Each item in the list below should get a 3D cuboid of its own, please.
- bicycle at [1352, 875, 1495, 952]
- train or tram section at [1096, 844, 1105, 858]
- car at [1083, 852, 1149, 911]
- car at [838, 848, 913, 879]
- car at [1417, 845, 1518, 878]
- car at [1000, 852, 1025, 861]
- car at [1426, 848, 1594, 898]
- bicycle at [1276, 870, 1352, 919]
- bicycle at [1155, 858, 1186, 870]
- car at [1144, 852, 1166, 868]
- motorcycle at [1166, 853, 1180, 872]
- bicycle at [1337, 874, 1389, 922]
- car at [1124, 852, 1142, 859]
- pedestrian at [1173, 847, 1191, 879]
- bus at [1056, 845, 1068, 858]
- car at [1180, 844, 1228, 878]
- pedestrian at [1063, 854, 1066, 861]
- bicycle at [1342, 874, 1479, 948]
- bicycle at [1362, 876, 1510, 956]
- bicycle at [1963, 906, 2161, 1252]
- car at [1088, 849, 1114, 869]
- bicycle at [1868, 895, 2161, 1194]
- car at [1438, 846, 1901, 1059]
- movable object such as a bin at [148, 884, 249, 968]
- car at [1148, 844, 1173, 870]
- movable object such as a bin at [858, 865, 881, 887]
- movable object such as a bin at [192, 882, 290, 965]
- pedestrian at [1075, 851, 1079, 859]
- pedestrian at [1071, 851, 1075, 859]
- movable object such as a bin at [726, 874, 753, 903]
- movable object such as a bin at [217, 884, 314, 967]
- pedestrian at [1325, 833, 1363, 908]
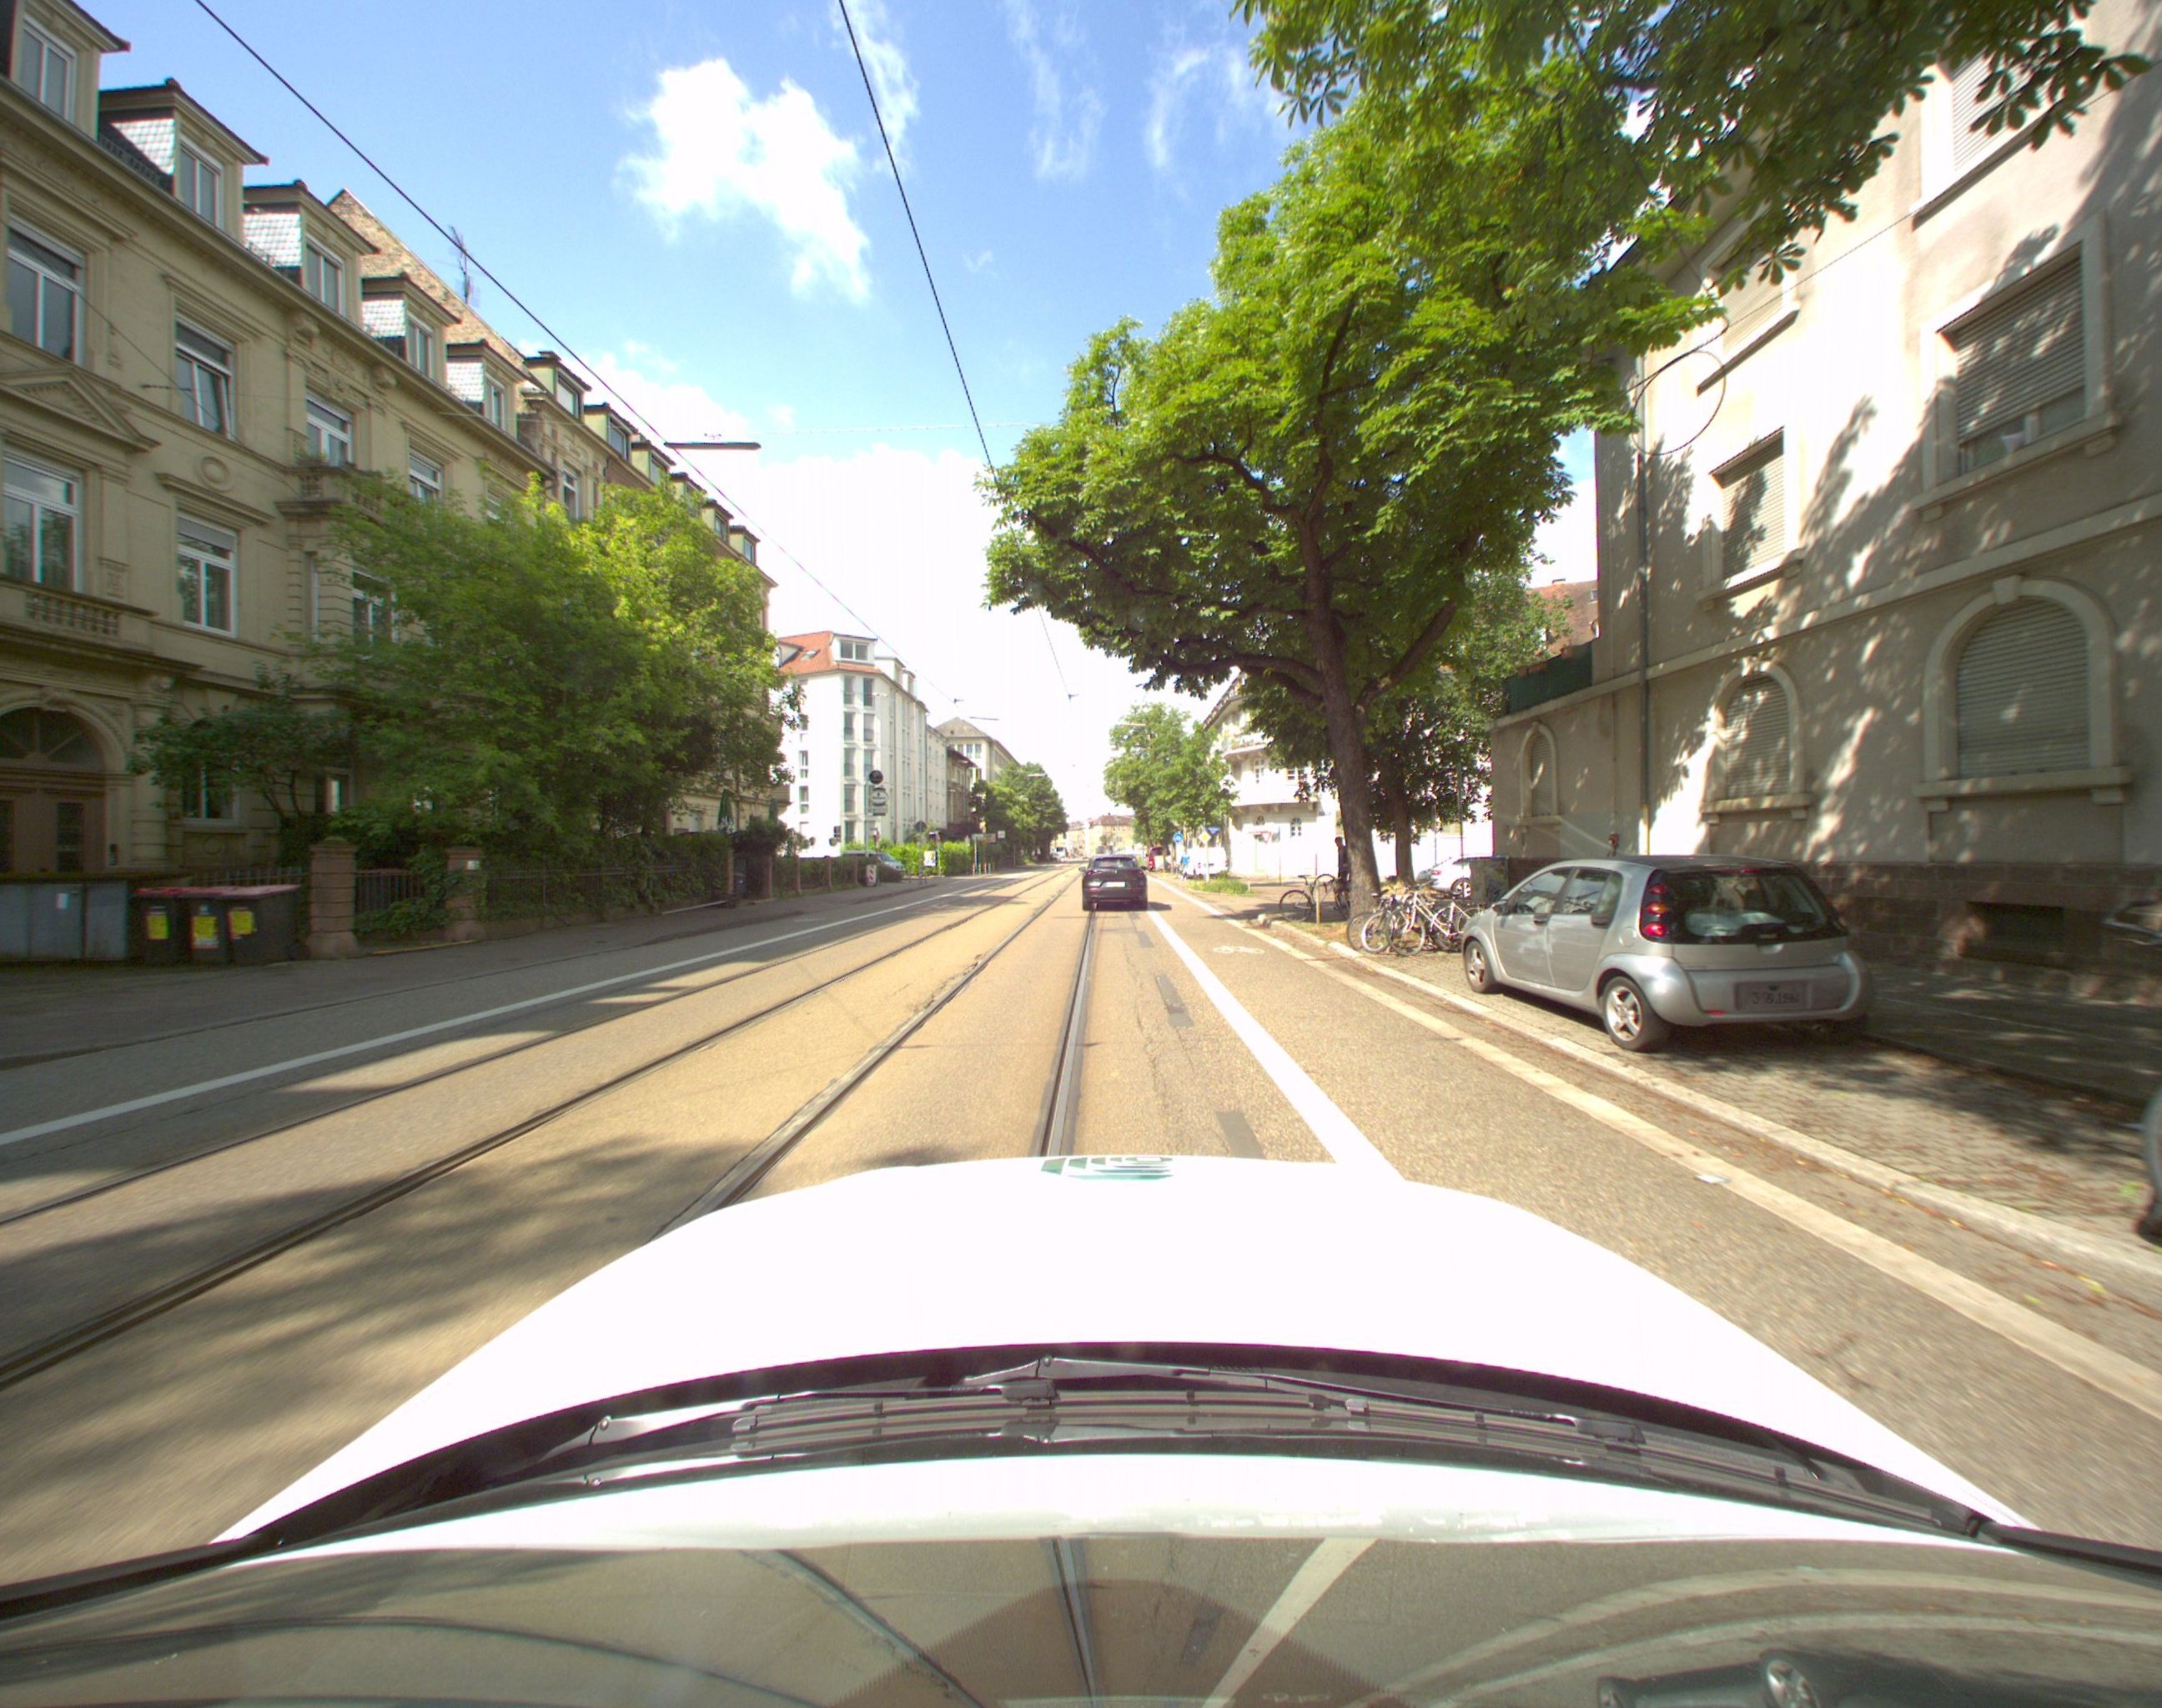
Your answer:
[{"bbox_3d":[4.961,0.852,11.843,1.896,1.072,0.402,-1,0,1],"label":"bicycle"},{"bbox_3d":[5.705,-0.837,236.192,2.562,3.772,13.032,-1,0,2],"label":"train or tram section"},{"bbox_3d":[0.951,0.704,23.151,1.714,1.526,3.590,-1,0,1],"label":"car"},{"bbox_3d":[-14.088,0.648,55.792,4.621,2.013,2.058,-1,0,23],"label":"car"},{"bbox_3d":[17.244,0.339,36.331,3.949,1.411,1.662,-1,-1,29],"label":"car"},{"bbox_3d":[-10.568,0.439,125.277,3.737,1.287,1.609,2,0,-3],"label":"car"},{"bbox_3d":[13.399,0.586,25.637,4.516,1.476,1.880,-1,-1,28],"label":"car"},{"bbox_3d":[4.853,0.837,17.005,1.485,0.983,0.259,-1,-1,3],"label":"bicycle"},{"bbox_3d":[6.830,0.787,62.311,2.267,0.861,0.672,-1,0,0],"label":"bicycle"},{"bbox_3d":[6.696,0.517,73.557,1.714,1.424,3.590,-1,0,1],"label":"car"},{"bbox_3d":[6.675,0.607,59.339,0.791,1.271,2.423,-1,0,1],"label":"motorcycle"},{"bbox_3d":[5.790,0.884,16.820,0.258,0.900,1.768,-1,0,-7],"label":"bicycle"},{"bbox_3d":[12.200,0.390,191.055,3.815,1.618,1.628,2,0,-17],"label":"car"},{"bbox_3d":[5.889,0.521,47.289,0.808,1.835,0.967,0,0,22],"label":"pedestrian"},{"bbox_3d":[-5.250,-0.730,225.959,2.683,3.421,11.000,2,0,-4],"label":"bus"},{"bbox_3d":[7.379,0.389,49.235,1.784,1.938,4.983,-1,0,-5],"label":"car"},{"bbox_3d":[-3.690,0.796,179.848,0.749,1.510,0.823,-1,0,-3],"label":"pedestrian"},{"bbox_3d":[4.963,0.849,12.302,1.896,1.072,0.402,-1,0,1],"label":"bicycle"},{"bbox_3d":[4.959,0.858,11.428,1.896,1.072,0.402,-1,0,1],"label":"bicycle"},{"bbox_3d":[4.600,0.787,2.951,1.923,1.176,0.515,-2,-1,13],"label":"bicycle"},{"bbox_3d":[1.647,0.399,67.161,1.986,1.529,4.001,2,0,1],"label":"car"},{"bbox_3d":[4.694,0.780,3.489,1.881,1.176,0.515,-2,-1,13],"label":"bicycle"},{"bbox_3d":[4.987,0.699,7.646,1.660,1.430,3.767,-3,0,2],"label":"car"},{"bbox_3d":[-12.473,0.997,11.527,0.546,1.108,0.791,-1,0,6],"label":"movable object such as a bin"},{"bbox_3d":[6.382,0.224,65.783,1.714,1.968,4.209,-1,0,2],"label":"car"},{"bbox_3d":[-9.824,1.017,37.865,0.742,0.988,1.114,2,0,1],"label":"movable object such as a bin"},{"bbox_3d":[-11.899,0.962,11.558,0.546,1.108,0.791,-1,0,6],"label":"movable object such as a bin"},{"bbox_3d":[-1.000,0.148,204.172,0.882,2.013,0.617,-1,0,-3],"label":"pedestrian"},{"bbox_3d":[-2.052,0.152,204.251,0.882,2.013,0.617,-1,0,-3],"label":"pedestrian"},{"bbox_3d":[-10.597,1.066,25.300,0.560,0.876,0.616,-1,0,1],"label":"movable object such as a bin"},{"bbox_3d":[-11.368,0.978,11.372,0.535,1.094,0.791,-1,0,6],"label":"movable object such as a bin"},{"bbox_3d":[6.578,0.412,20.412,0.608,1.836,0.878,-1,-2,-1],"label":"pedestrian"}]
